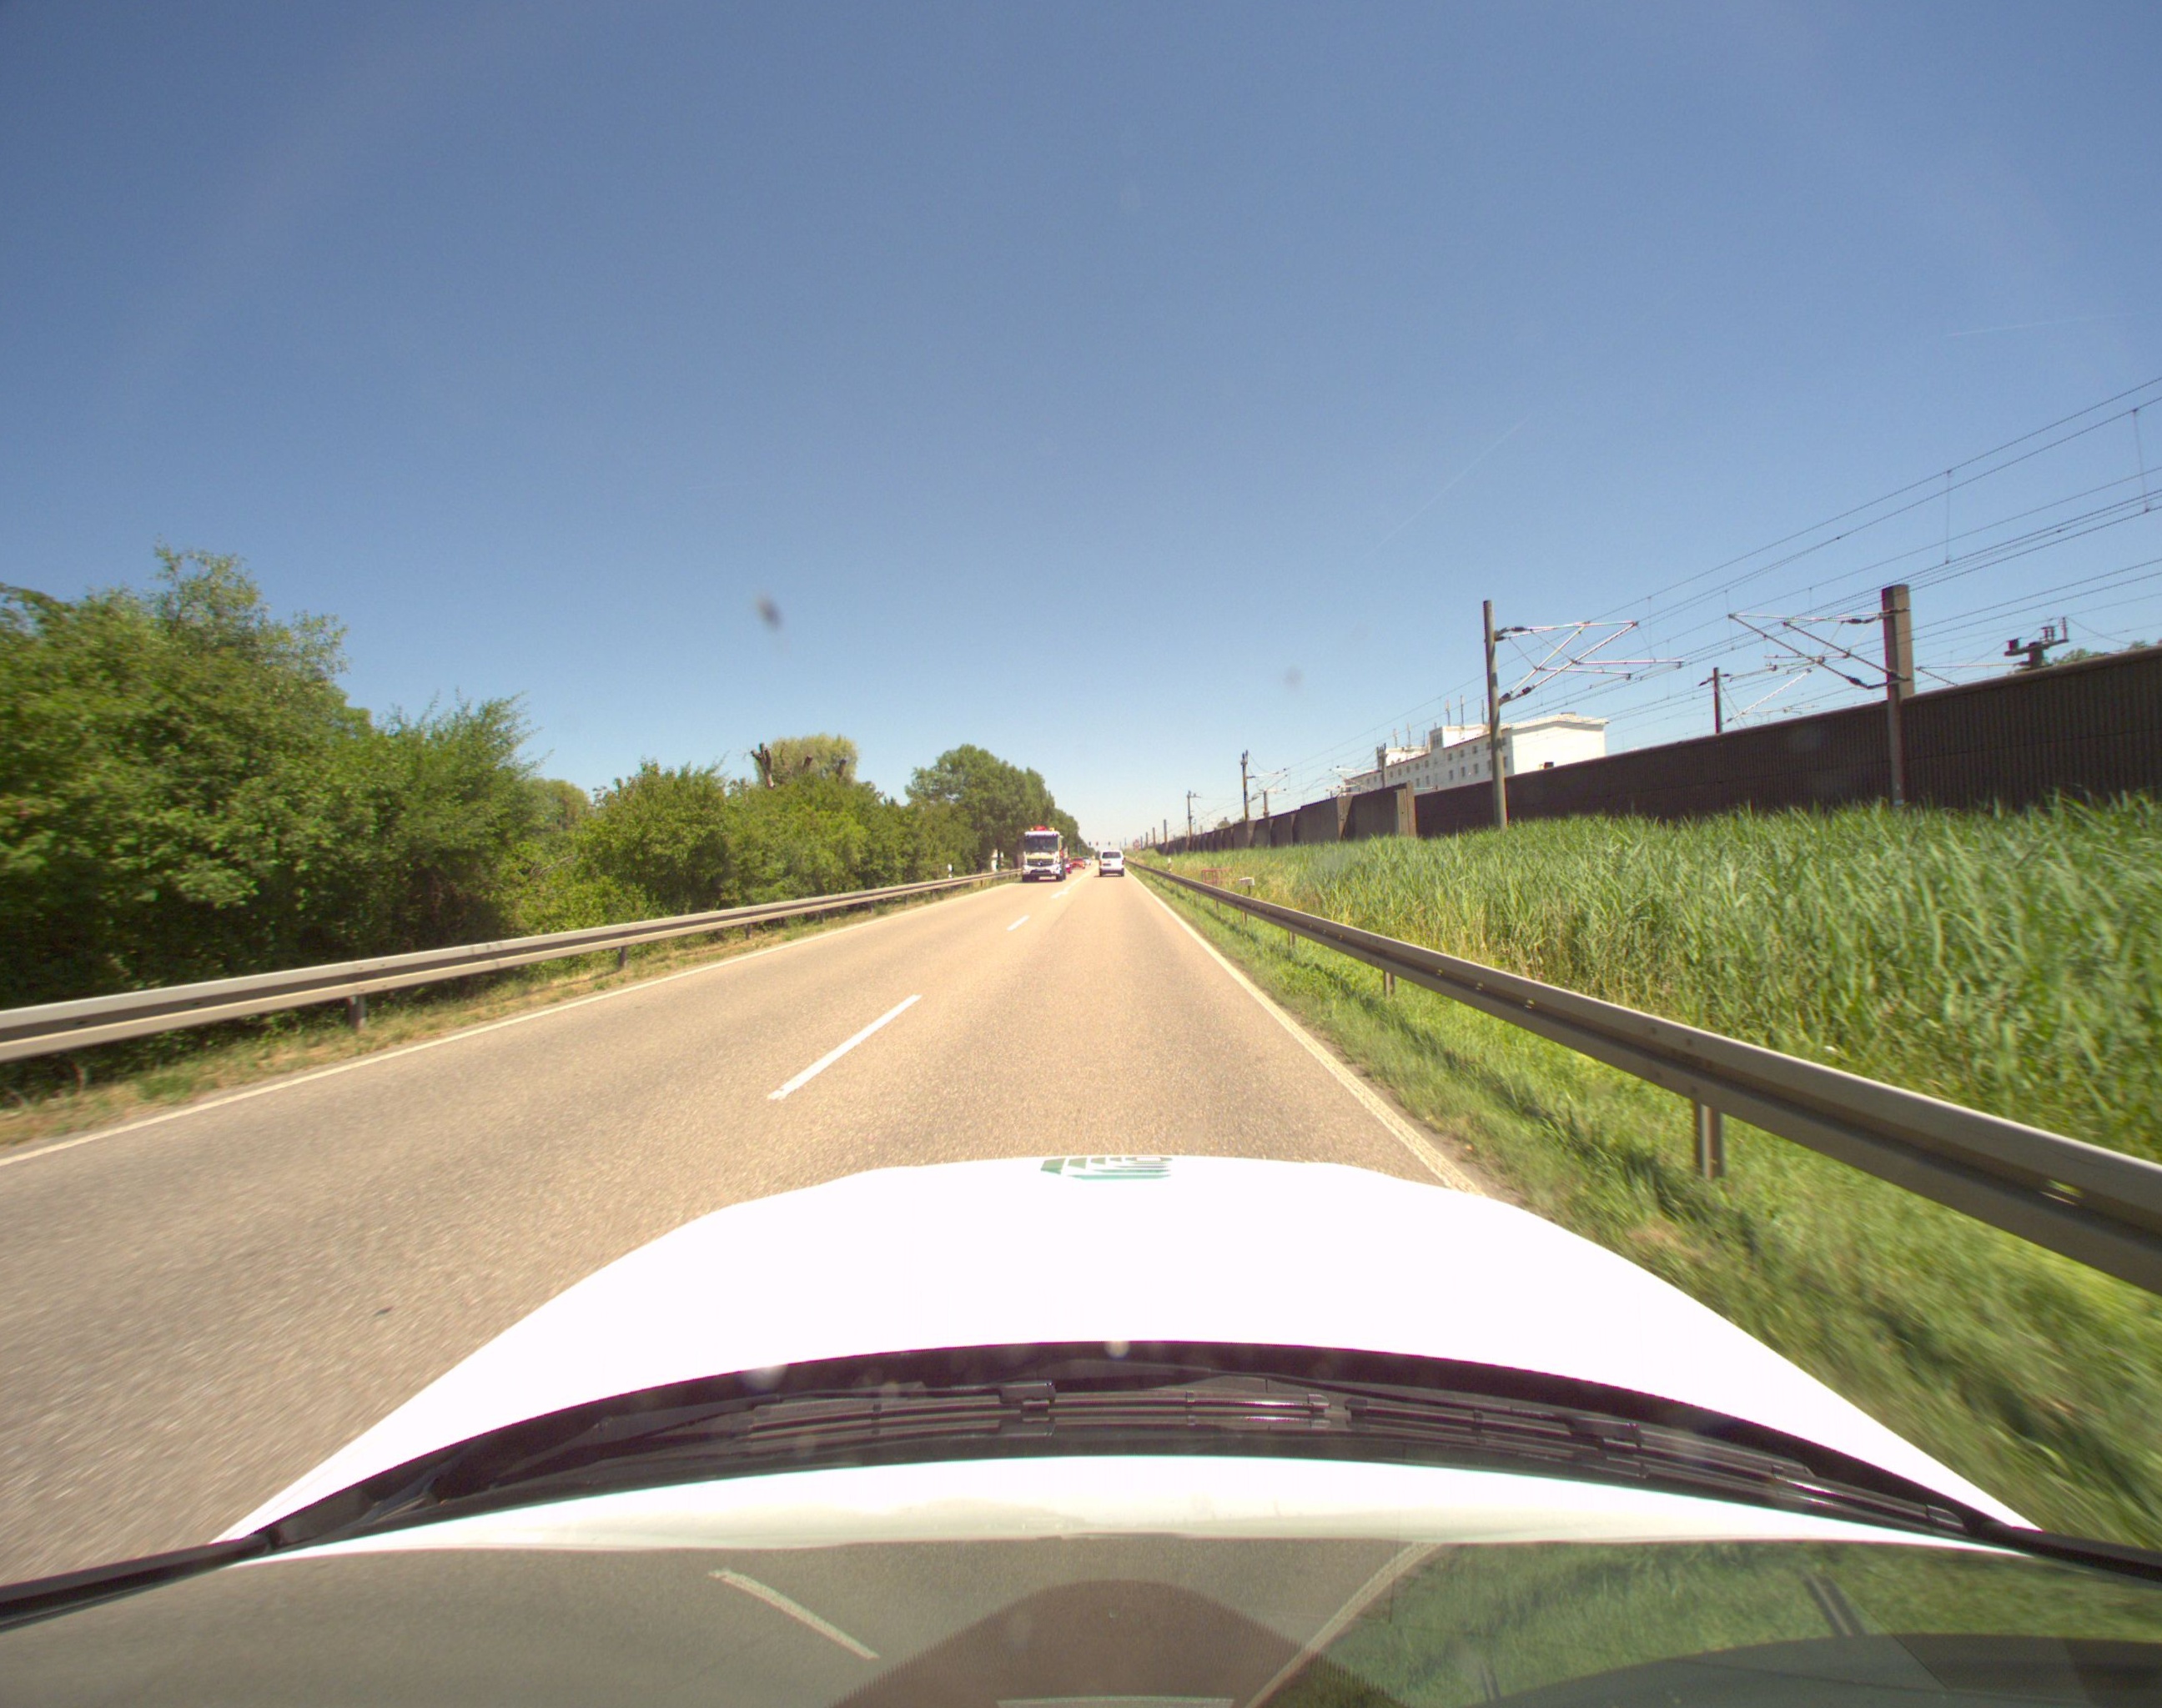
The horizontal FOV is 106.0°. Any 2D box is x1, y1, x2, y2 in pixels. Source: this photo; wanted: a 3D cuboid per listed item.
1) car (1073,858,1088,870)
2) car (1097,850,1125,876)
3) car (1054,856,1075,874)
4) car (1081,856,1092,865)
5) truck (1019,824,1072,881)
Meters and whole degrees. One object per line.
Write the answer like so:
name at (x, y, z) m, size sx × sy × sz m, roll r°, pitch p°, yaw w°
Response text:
car at (-0.045, 1.188, 100.980) m, size 1.783 × 1.421 × 4.001 m, roll -2°, pitch 0°, yaw 1°
car at (2.241, 0.643, 60.722) m, size 1.986 × 1.850 × 4.002 m, roll -1°, pitch 0°, yaw 2°
car at (-1.492, 0.991, 74.194) m, size 1.646 × 1.552 × 4.001 m, roll -2°, pitch 0°, yaw 2°
car at (0.977, 1.173, 142.690) m, size 1.782 × 1.525 × 4.393 m, roll -2°, pitch 0°, yaw 3°
truck at (-2.172, -0.076, 52.594) m, size 2.773 × 3.405 × 7.992 m, roll 0°, pitch 0°, yaw 2°
